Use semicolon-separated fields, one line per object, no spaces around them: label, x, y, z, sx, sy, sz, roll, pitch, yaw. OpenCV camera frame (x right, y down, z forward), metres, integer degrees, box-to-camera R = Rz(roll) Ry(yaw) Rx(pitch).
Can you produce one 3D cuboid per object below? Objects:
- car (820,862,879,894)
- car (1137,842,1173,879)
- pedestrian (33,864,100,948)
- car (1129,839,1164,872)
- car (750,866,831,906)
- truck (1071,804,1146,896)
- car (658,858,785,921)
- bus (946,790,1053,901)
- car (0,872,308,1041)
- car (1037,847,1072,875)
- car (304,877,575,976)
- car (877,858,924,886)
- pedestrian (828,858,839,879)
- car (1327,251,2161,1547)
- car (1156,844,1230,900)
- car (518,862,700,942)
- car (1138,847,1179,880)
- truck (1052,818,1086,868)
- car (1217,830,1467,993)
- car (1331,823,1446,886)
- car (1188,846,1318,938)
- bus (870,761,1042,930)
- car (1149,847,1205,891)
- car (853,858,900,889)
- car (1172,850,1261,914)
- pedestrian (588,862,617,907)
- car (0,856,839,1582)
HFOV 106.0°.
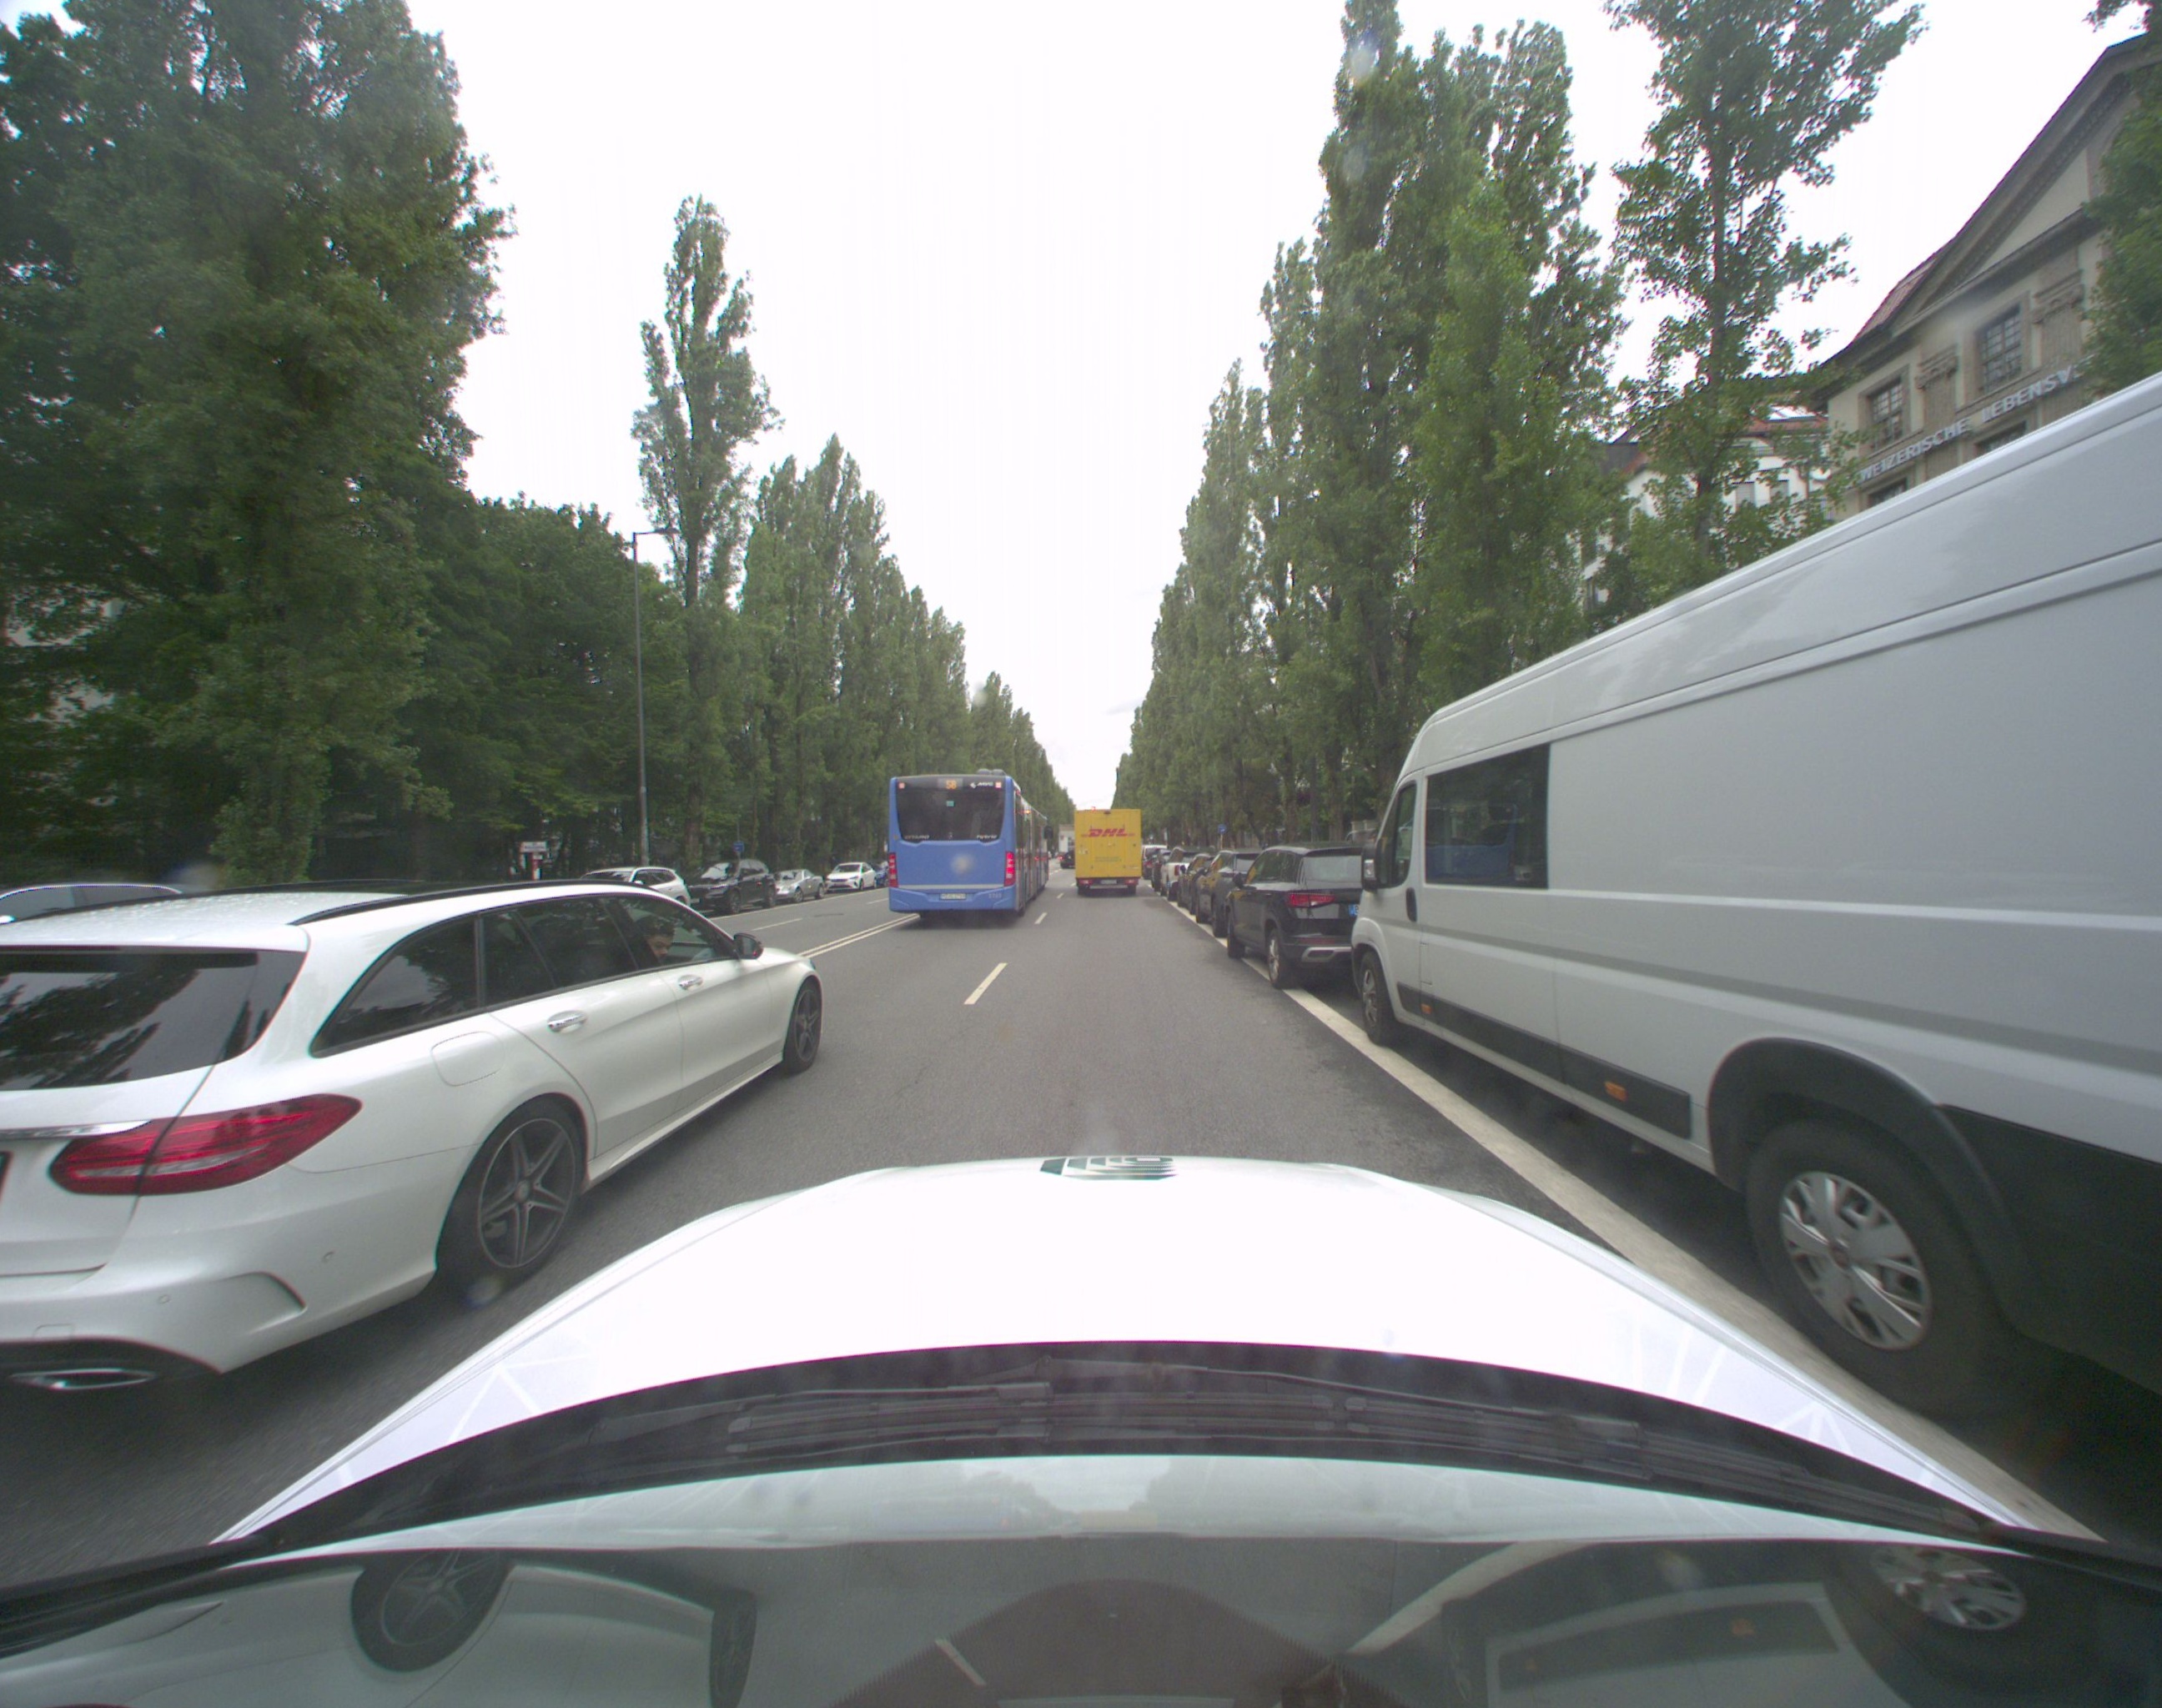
car;-11.469;1.158;40.641;1.680;1.413;4.004;-4;0;0
car;4.246;0.347;47.421;1.799;1.976;4.238;-1;0;2
pedestrian;-21.578;1.091;17.334;0.547;1.747;0.673;-1;0;0
car;4.398;0.072;55.721;2.045;2.013;5.695;-2;0;2
car;-11.345;1.211;32.082;1.574;1.304;4.031;-4;0;2
truck;0.922;-0.146;29.737;2.319;2.898;7.334;-2;0;1
car;-11.452;1.054;26.327;1.874;1.658;4.717;-4;0;0
bus;-2.647;-0.284;29.625;2.863;3.304;9.787;-2;0;0
car;-11.761;1.130;8.802;1.809;1.608;5.054;-4;0;1
car;-1.775;0.462;56.347;2.028;1.801;4.509;-2;0;2
car;-11.892;1.253;15.540;1.670;1.422;4.238;-3;0;1
car;-11.161;1.081;50.697;1.785;1.548;4.338;-5;0;0
pedestrian;-20.434;1.189;67.299;0.597;1.739;0.640;-2;0;1
car;3.146;0.066;3.987;2.067;2.479;6.285;-1;0;1
car;3.372;0.514;25.184;1.774;1.581;4.147;0;0;1
car;-11.713;1.108;20.651;1.778;1.588;4.463;-4;0;2
car;3.937;0.471;41.908;1.856;1.552;4.002;-2;0;2
truck;-1.035;-0.936;71.395;2.708;3.965;9.214;-2;0;-1
car;2.941;0.562;10.182;1.814;1.590;4.223;-1;0;1
car;10.457;-0.005;28.193;1.987;1.925;5.324;-2;0;0
car;3.102;0.617;15.480;1.646;1.503;4.114;-1;0;1
bus;-2.642;-0.193;20.318;2.847;3.213;9.058;-1;0;0
car;3.567;0.502;30.789;1.719;1.495;4.326;-2;0;2
car;-11.272;1.026;45.212;1.740;1.518;4.112;-4;0;-4
car;3.326;0.631;20.684;1.627;1.446;4.149;0;0;1
pedestrian;-19.647;1.251;33.453;0.637;1.815;0.776;-2;0;1
car;-2.839;0.762;3.962;1.819;1.454;4.584;-1;0;1
